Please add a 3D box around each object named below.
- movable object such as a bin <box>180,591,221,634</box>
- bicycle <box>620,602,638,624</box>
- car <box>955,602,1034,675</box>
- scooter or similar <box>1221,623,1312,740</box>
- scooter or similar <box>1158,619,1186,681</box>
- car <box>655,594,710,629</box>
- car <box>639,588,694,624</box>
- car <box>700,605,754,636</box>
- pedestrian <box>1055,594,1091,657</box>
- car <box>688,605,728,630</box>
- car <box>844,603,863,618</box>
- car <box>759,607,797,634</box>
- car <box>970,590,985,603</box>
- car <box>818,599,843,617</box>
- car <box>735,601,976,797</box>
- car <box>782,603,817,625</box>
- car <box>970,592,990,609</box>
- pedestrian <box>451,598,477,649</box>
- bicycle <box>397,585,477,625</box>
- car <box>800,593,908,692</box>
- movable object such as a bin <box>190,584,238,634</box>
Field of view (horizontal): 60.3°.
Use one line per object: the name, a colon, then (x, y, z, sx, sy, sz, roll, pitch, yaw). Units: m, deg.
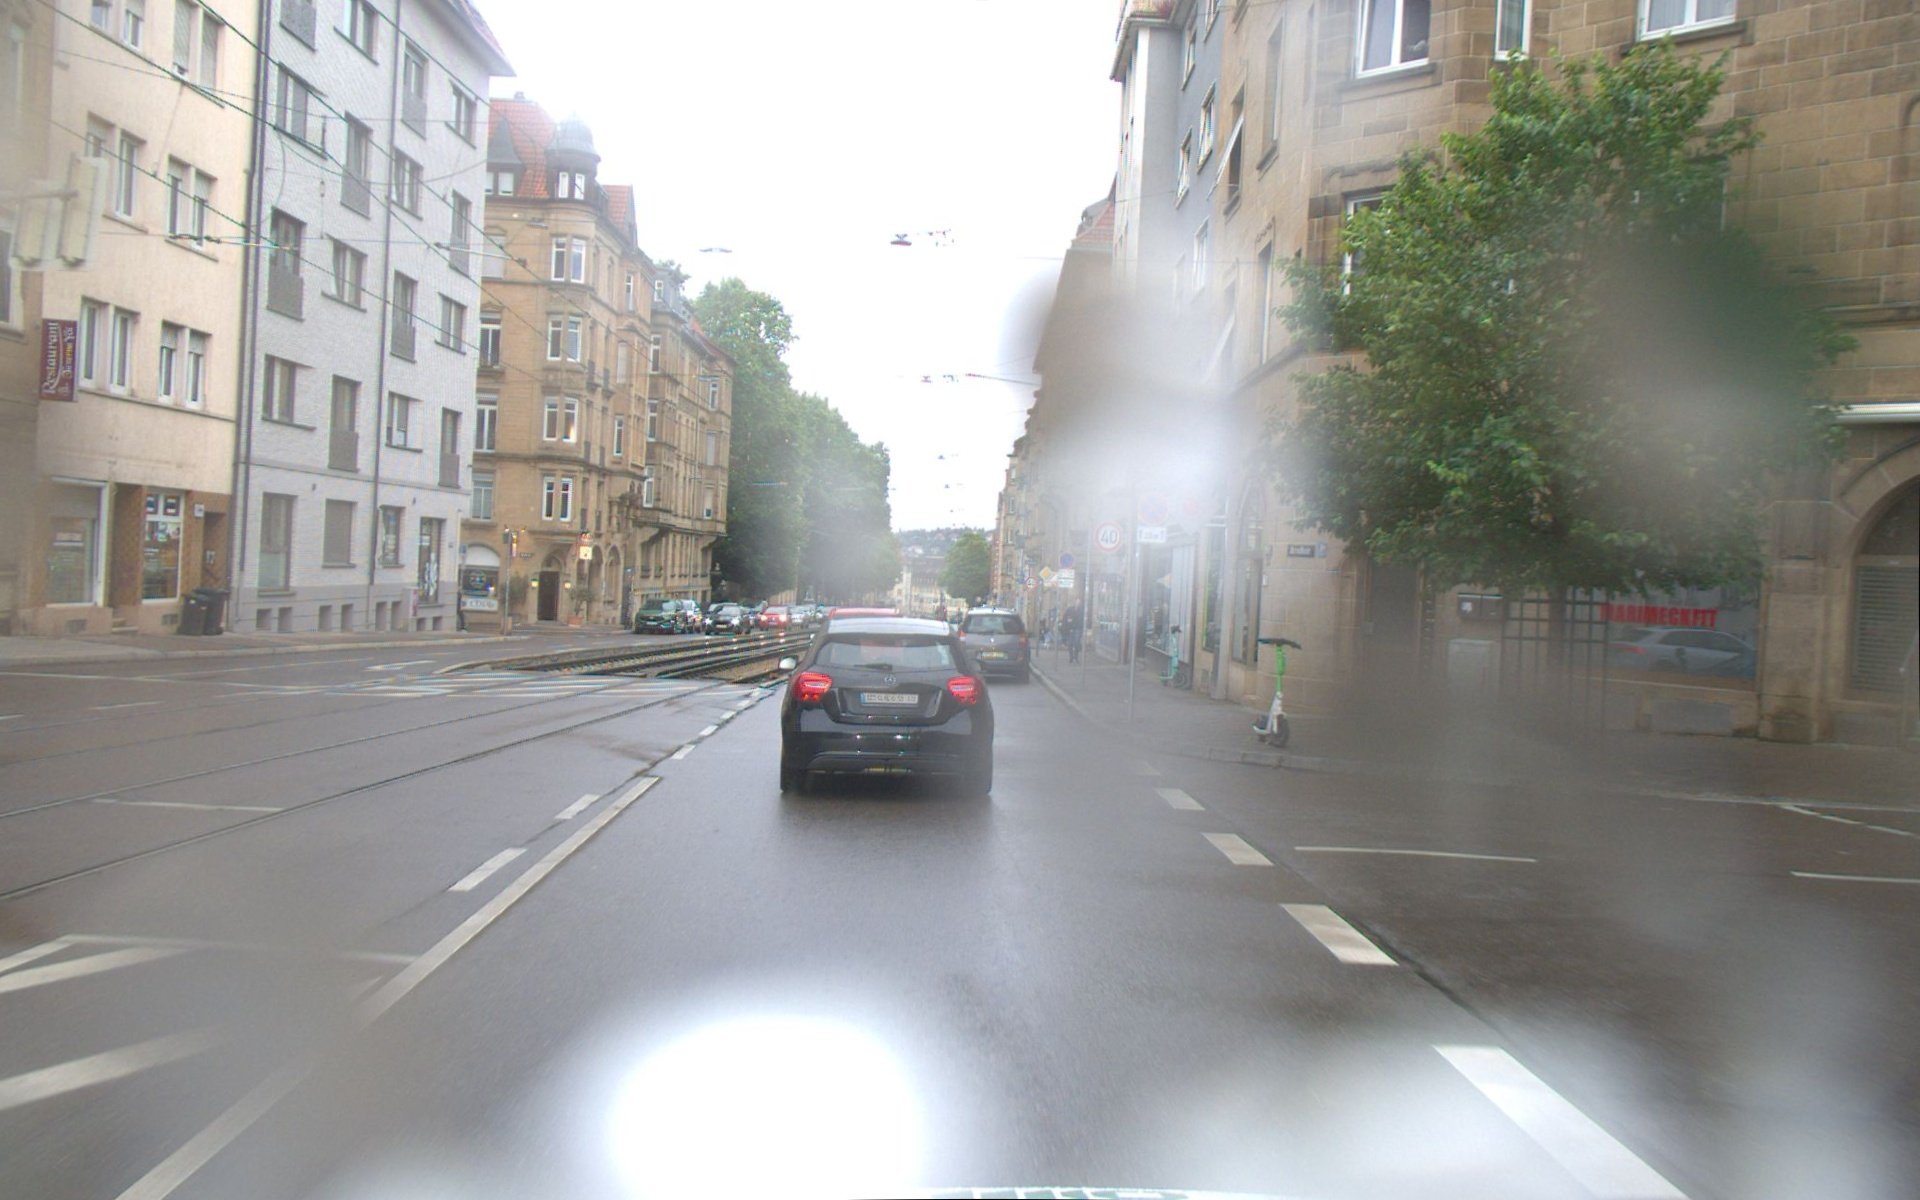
movable object such as a bin: (-17.278, 0.289, 37.635, 0.582, 0.926, 0.560, 5, 0, 0)
bicycle: (-15.627, 0.629, 78.116, 0.586, 1.018, 2.078, 1, 0, -4)
car: (0.778, 0.866, 38.996, 1.729, 1.586, 4.745, 1, 0, 0)
scooter or similar: (3.434, 0.895, 18.627, 0.625, 1.231, 1.551, 1, 0, -4)
scooter or similar: (4.361, 1.015, 34.043, 0.387, 1.237, 1.106, 2, 0, -1)
car: (-13.810, 0.563, 82.482, 1.769, 1.625, 4.526, 1, 0, 2)
car: (-13.645, 0.286, 77.059, 1.686, 1.568, 3.934, 1, 0, 2)
car: (-11.106, 0.941, 78.982, 1.908, 1.421, 4.274, 1, 0, 1)
pedestrian: (3.341, 0.748, 48.926, 0.926, 1.800, 1.015, 2, 0, -2)
car: (-14.011, 0.984, 92.022, 1.536, 1.339, 3.482, 1, 0, 2)
car: (-10.676, 1.059, 165.541, 1.536, 1.438, 3.482, 1, 0, 2)
car: (-10.661, 1.165, 97.175, 1.645, 1.523, 3.520, 1, 0, 3)
car: (2.006, -0.428, 190.730, 1.580, 1.340, 4.000, 3, 0, 0)
car: (-10.677, 0.643, 136.371, 1.660, 1.413, 3.482, 1, 0, 2)
car: (-0.799, 0.763, 14.755, 1.828, 1.477, 4.000, 1, 0, 0)
car: (-10.501, 0.929, 108.618, 1.769, 1.384, 4.763, 1, 0, 1)
car: (1.637, 0.038, 133.771, 1.580, 1.340, 4.000, 1, 0, 0)
pedestrian: (-17.932, 0.866, 59.772, 0.627, 1.818, 0.923, 1, -2, 0)
bicycle: (-22.447, 0.209, 71.088, 3.090, 1.612, 1.593, 1, 0, -11)
car: (-1.710, 0.659, 27.717, 1.616, 1.477, 3.998, 3, 0, -2)
movable object such as a bin: (-17.279, 0.208, 38.324, 0.698, 1.092, 0.687, 5, 0, 0)
